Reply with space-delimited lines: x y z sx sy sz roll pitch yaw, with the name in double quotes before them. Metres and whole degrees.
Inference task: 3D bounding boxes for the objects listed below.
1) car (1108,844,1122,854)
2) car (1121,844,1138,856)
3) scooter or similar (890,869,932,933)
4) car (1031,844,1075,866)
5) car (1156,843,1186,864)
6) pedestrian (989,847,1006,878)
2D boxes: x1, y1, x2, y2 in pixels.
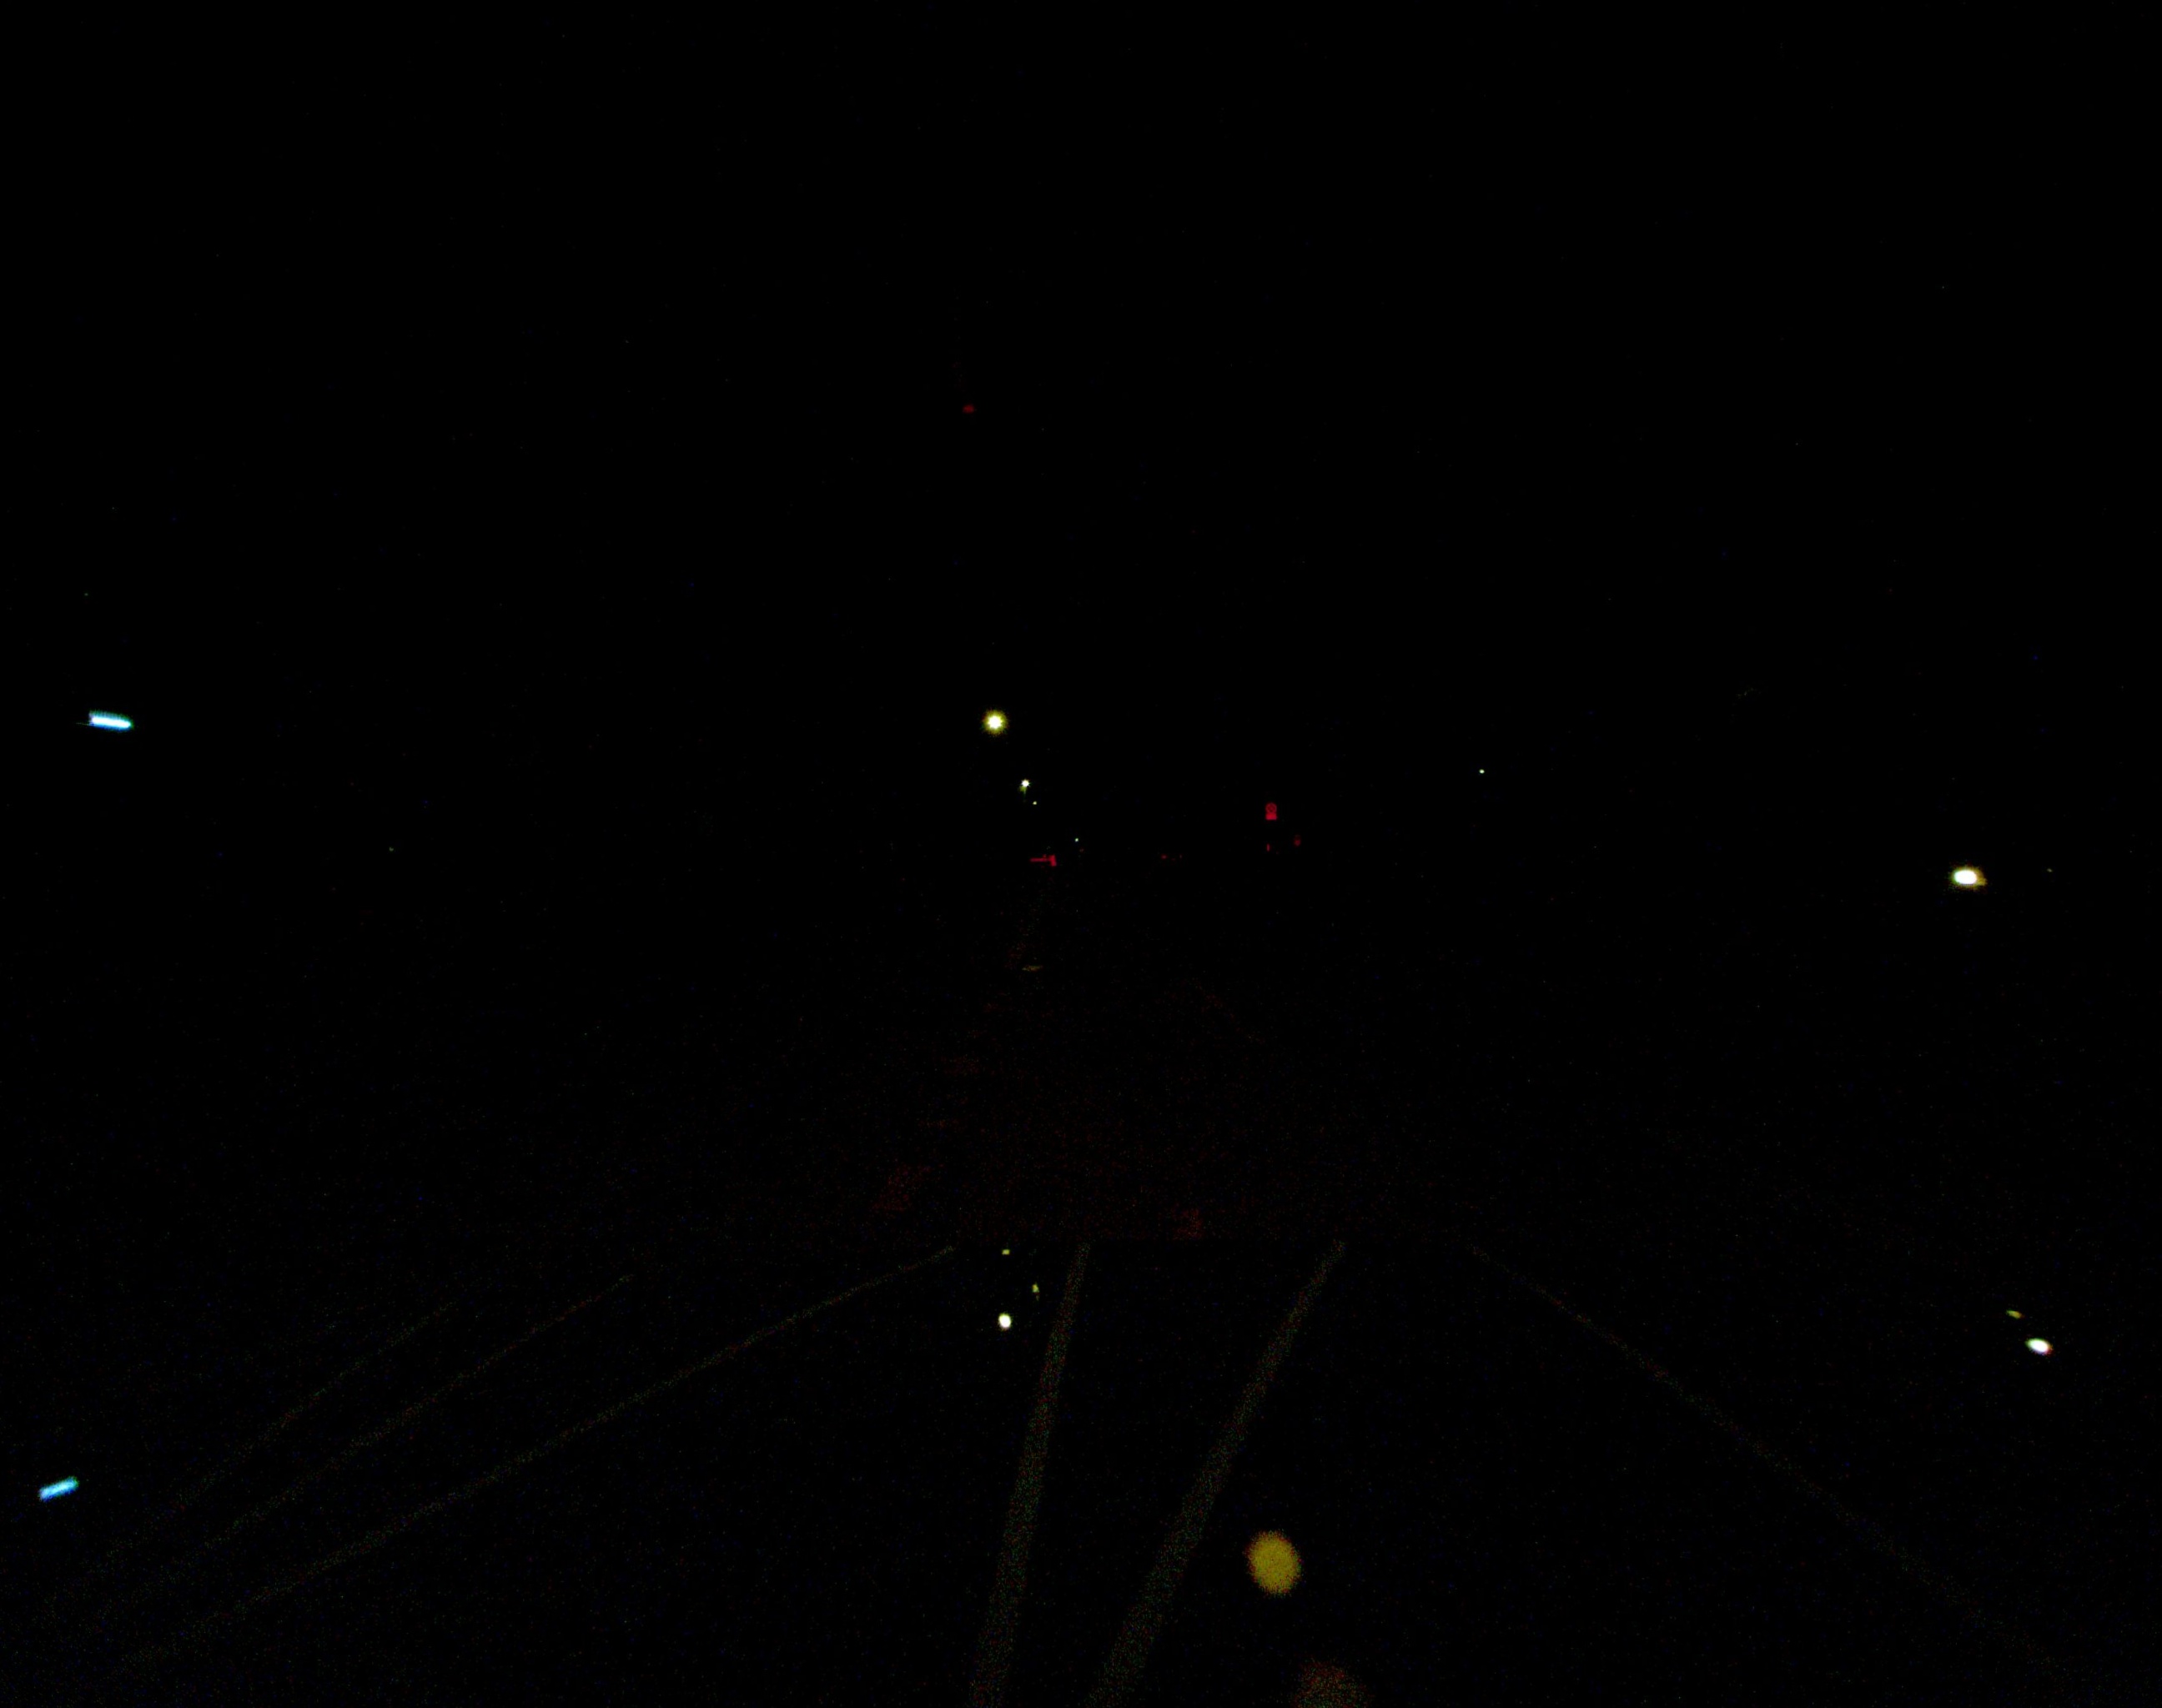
"car" 5.278 -0.769 117.688 1.911 1.445 3.999 -3 2 1
"car" 6.374 -0.555 100.433 1.911 1.445 3.999 -3 2 1
"scooter or similar" -3.638 0.982 16.317 0.570 1.271 1.391 0 0 0
"car" -2.562 0.089 70.808 3.997 1.821 1.912 -2 2 0
"car" 7.197 -0.043 61.024 1.911 1.445 3.999 -3 2 1
"pedestrian" -4.852 0.491 44.428 0.824 1.809 0.608 -3 2 1
